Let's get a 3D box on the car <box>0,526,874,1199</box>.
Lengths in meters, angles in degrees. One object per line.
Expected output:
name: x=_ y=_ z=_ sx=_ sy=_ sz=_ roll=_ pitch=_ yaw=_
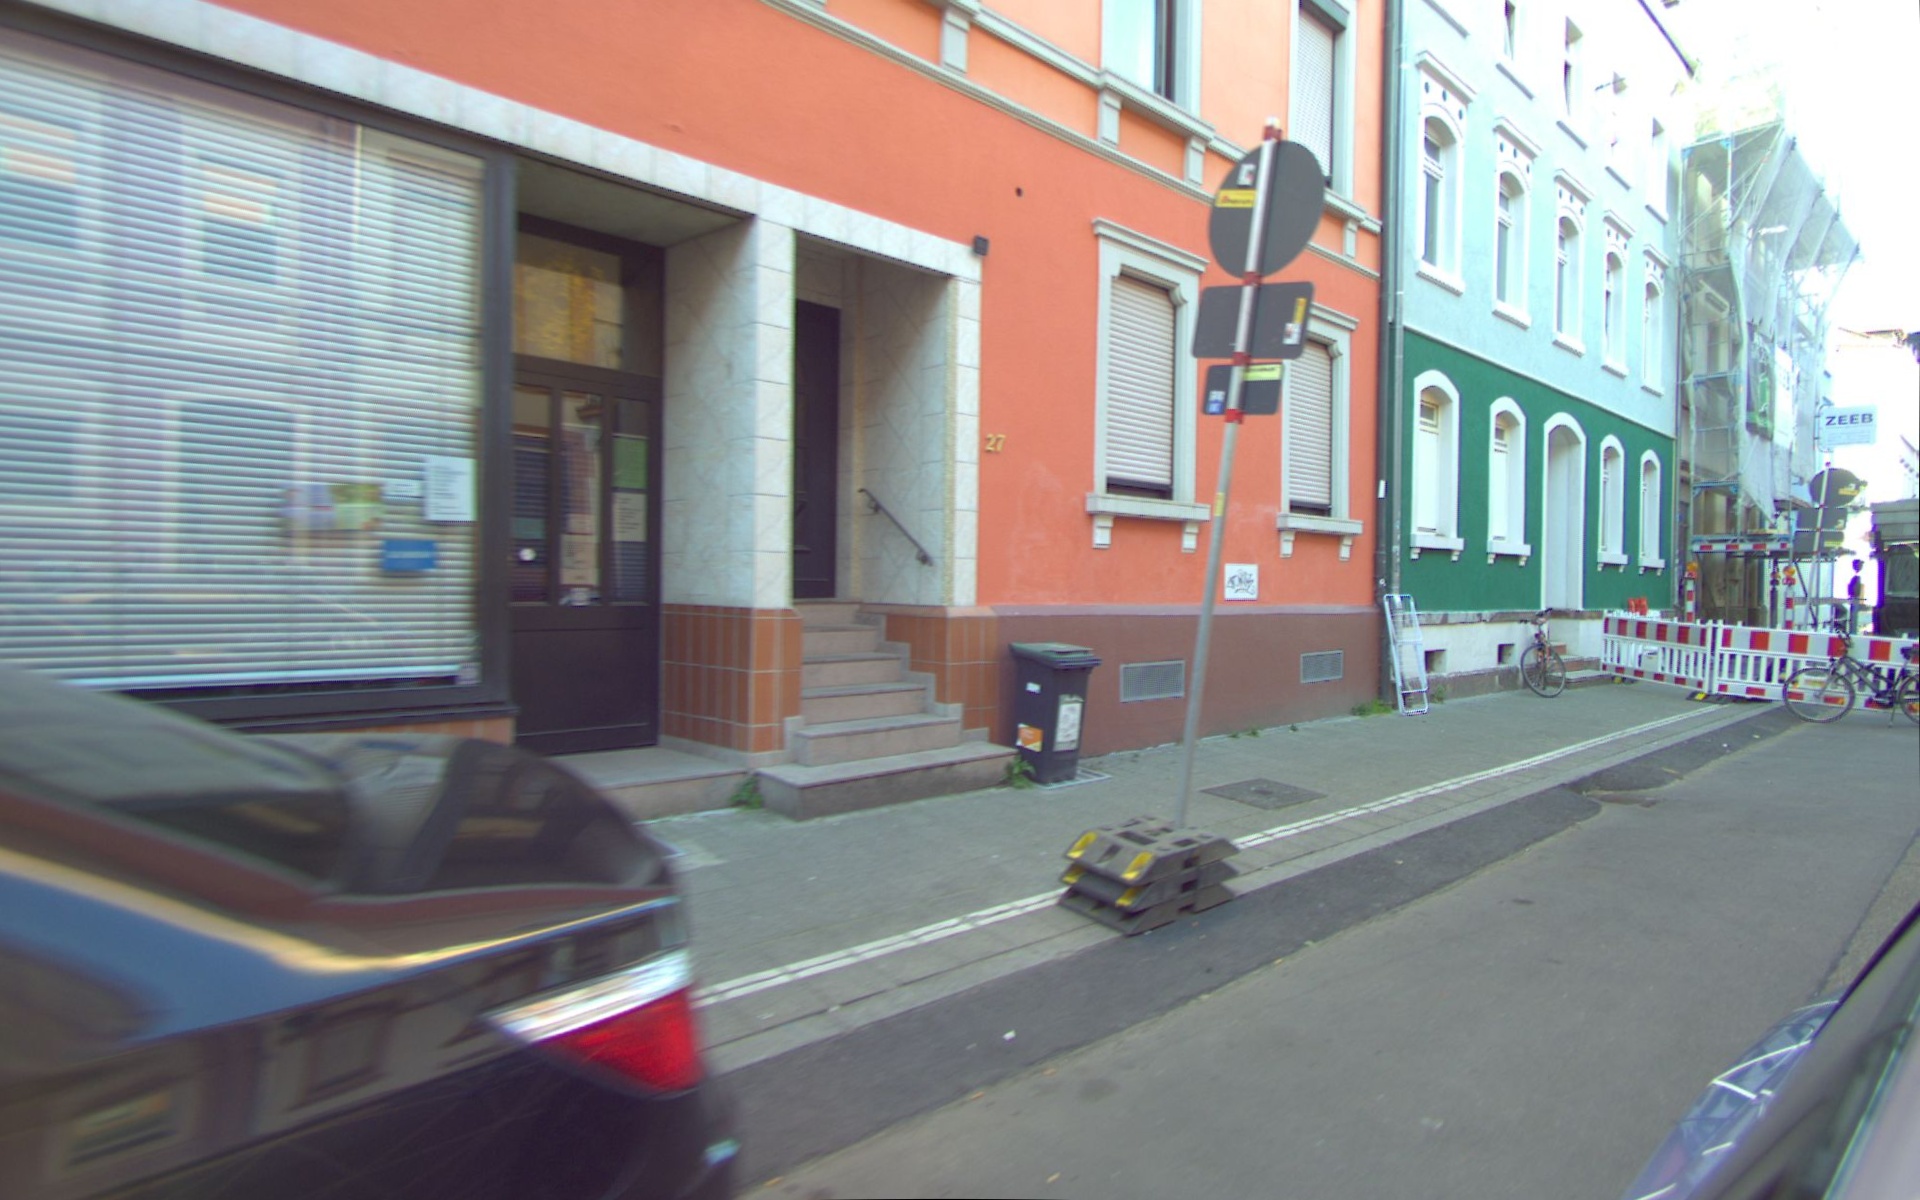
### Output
car: x=-2.489 y=0.642 z=0.561 sx=4.708 sy=1.456 sz=1.820 roll=-1 pitch=4 yaw=-42

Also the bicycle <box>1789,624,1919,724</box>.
bicycle: x=11.235 y=0.879 z=12.241 sx=1.848 sy=1.124 sz=0.634 roll=0 pitch=0 yaw=42

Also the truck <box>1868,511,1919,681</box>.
truck: x=19.255 y=-0.101 z=18.844 sx=7.265 sy=2.849 sz=2.665 roll=-1 pitch=0 yaw=-41

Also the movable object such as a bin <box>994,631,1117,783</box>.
movable object such as a bin: x=0.662 y=0.715 z=7.031 sx=0.570 sy=0.916 sz=0.598 roll=-2 pitch=5 yaw=-43

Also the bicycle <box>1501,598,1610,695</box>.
bicycle: x=7.979 y=0.586 z=13.535 sx=1.803 sy=1.142 sz=0.656 roll=-1 pitch=6 yaw=-42
